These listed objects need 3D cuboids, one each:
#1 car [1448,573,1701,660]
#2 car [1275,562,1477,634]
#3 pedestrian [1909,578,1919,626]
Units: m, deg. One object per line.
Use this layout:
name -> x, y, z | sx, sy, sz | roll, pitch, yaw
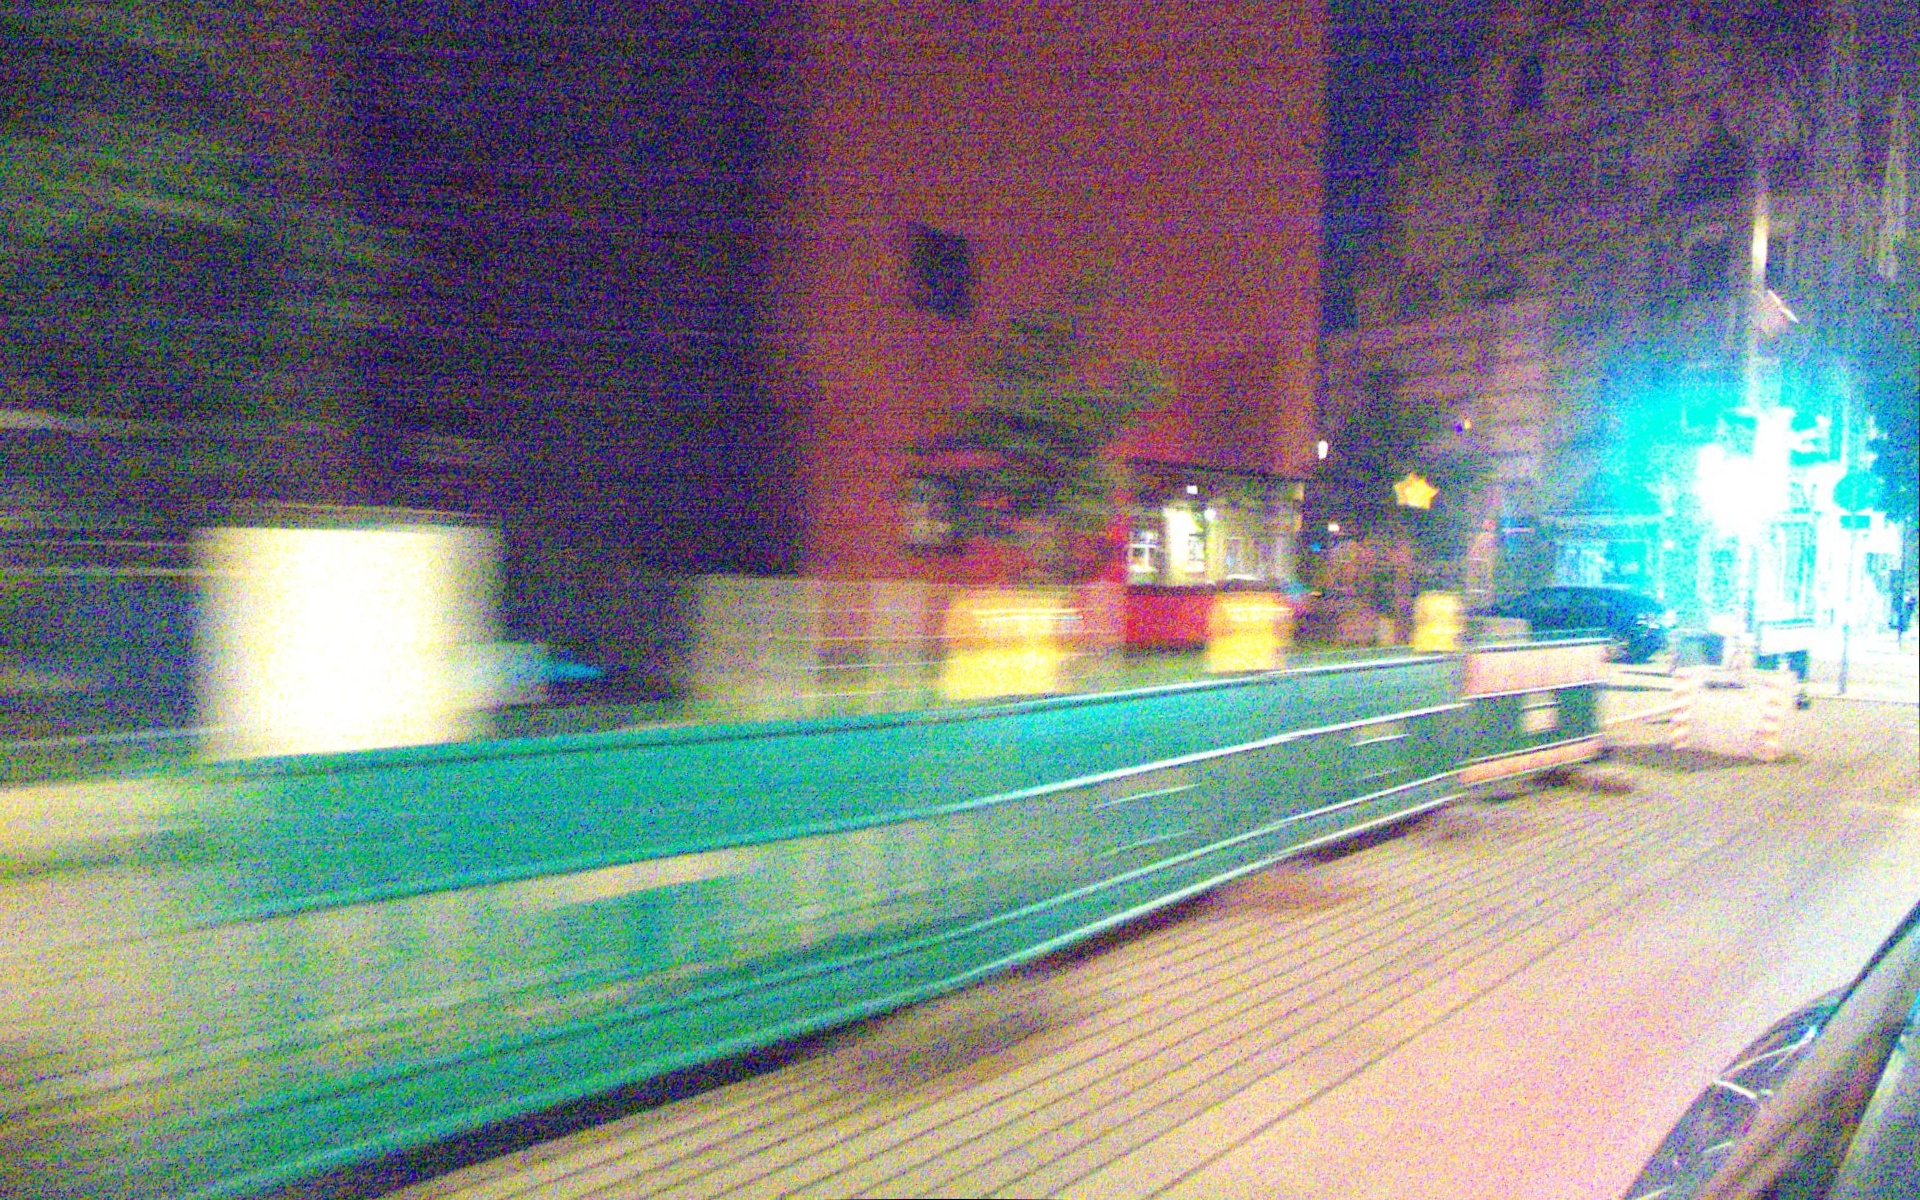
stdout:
car -> 12.362, 0.246, 20.547 | 1.821, 1.439, 4.022 | -2, 4, -41
car -> 10.129, -0.110, 24.880 | 1.821, 1.485, 4.197 | -1, 4, -43
pedestrian -> 35.672, 0.073, 37.605 | 0.561, 1.730, 0.478 | 0, 2, -40
